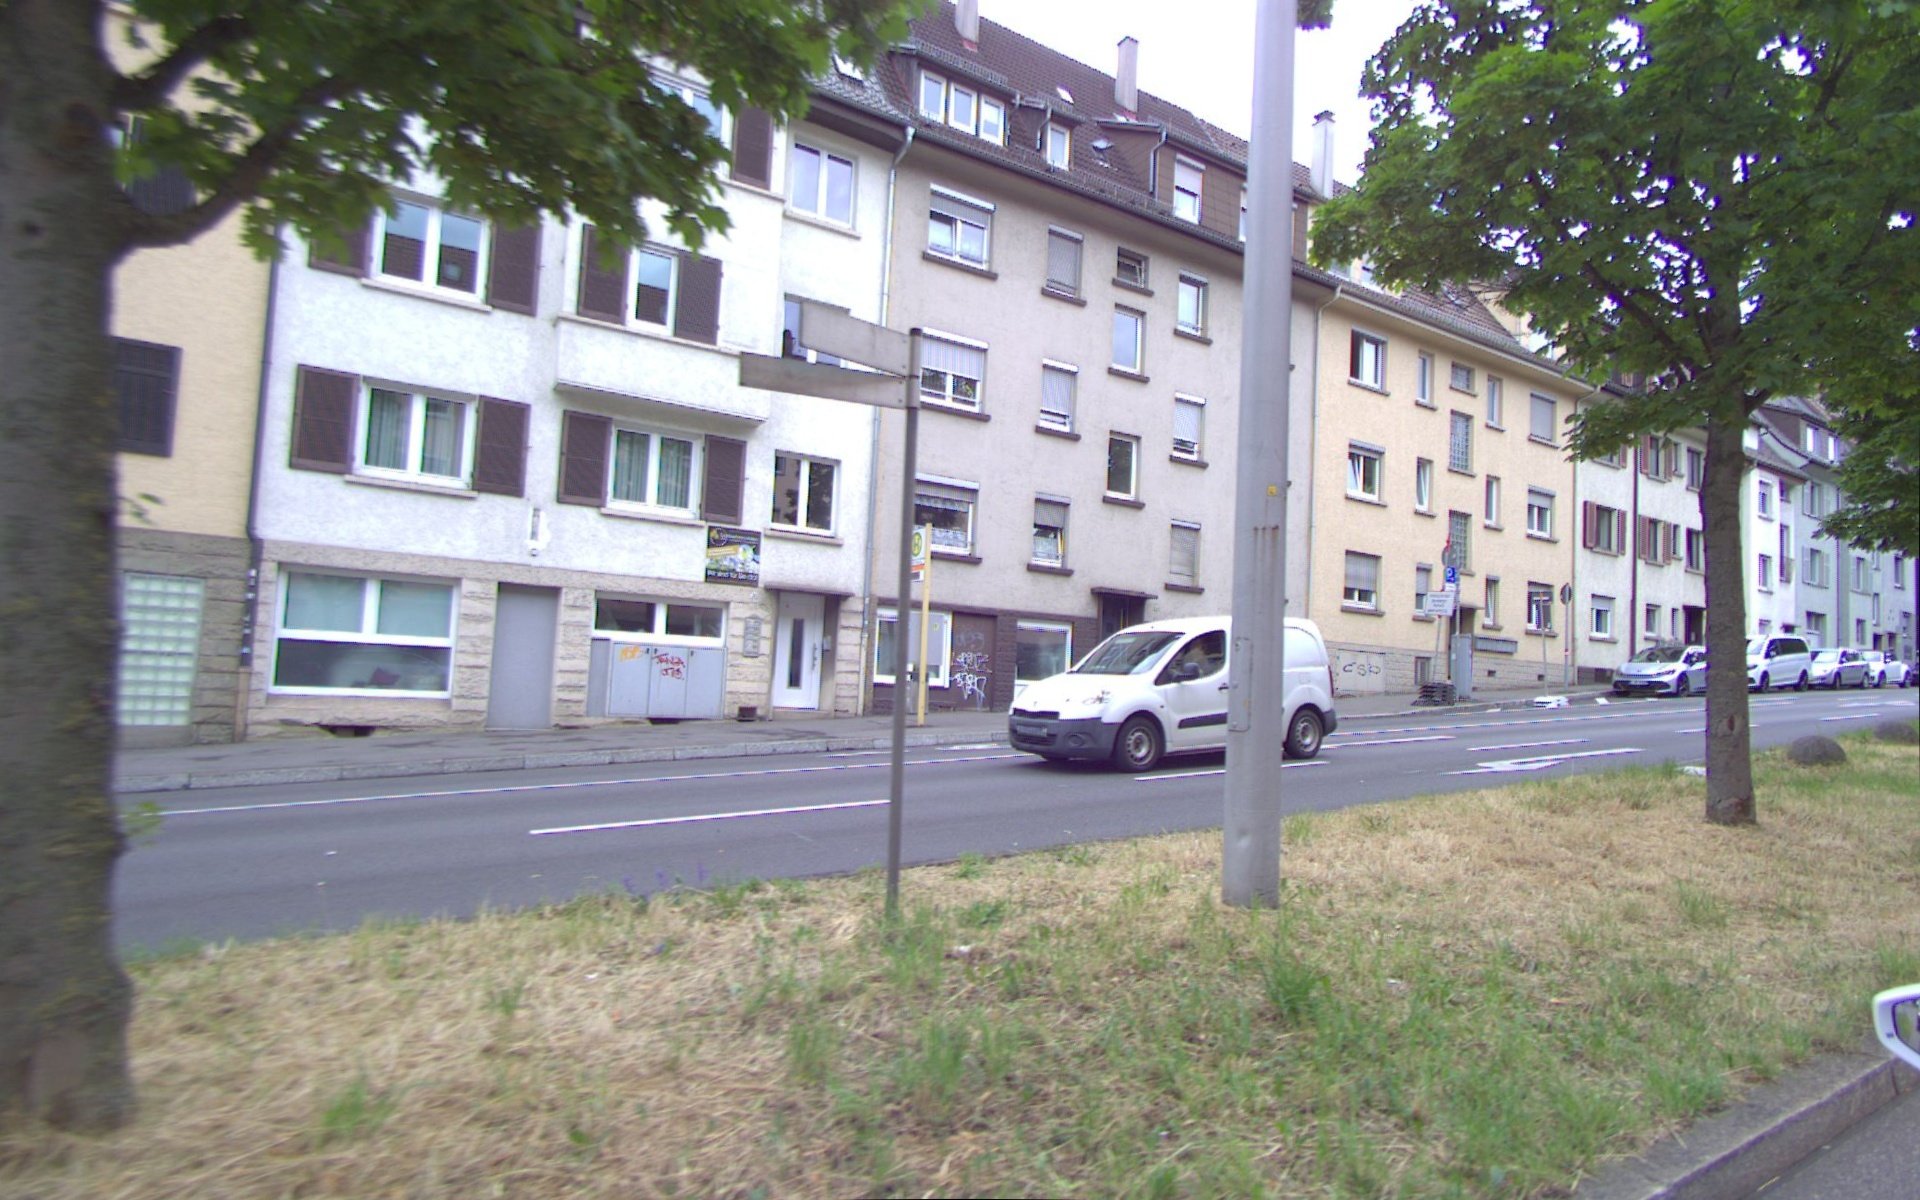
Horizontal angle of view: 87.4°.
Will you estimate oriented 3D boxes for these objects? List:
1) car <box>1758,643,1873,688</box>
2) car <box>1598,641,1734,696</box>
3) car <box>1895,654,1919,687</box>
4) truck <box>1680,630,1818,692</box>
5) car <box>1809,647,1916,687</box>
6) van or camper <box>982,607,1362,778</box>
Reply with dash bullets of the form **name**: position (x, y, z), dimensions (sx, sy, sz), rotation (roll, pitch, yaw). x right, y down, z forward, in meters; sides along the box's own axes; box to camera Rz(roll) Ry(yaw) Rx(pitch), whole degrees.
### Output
- **car**: position (31.305, 2.387, 36.745), dimensions (4.334, 1.572, 1.983), rotation (2, -4, -32)
- **car**: position (21.660, 2.093, 30.802), dimensions (4.112, 1.572, 1.983), rotation (2, -4, -32)
- **car**: position (43.332, 3.124, 44.454), dimensions (4.170, 1.441, 1.981), rotation (3, -4, -35)
- **truck**: position (26.693, 2.048, 33.937), dimensions (5.288, 1.945, 1.983), rotation (2, -3, -32)
- **car**: position (35.560, 2.620, 39.576), dimensions (4.110, 1.493, 1.984), rotation (2, -3, -31)
- **van or camper**: position (2.705, 1.080, 12.526), dimensions (4.601, 1.784, 1.899), rotation (2, -3, -31)
